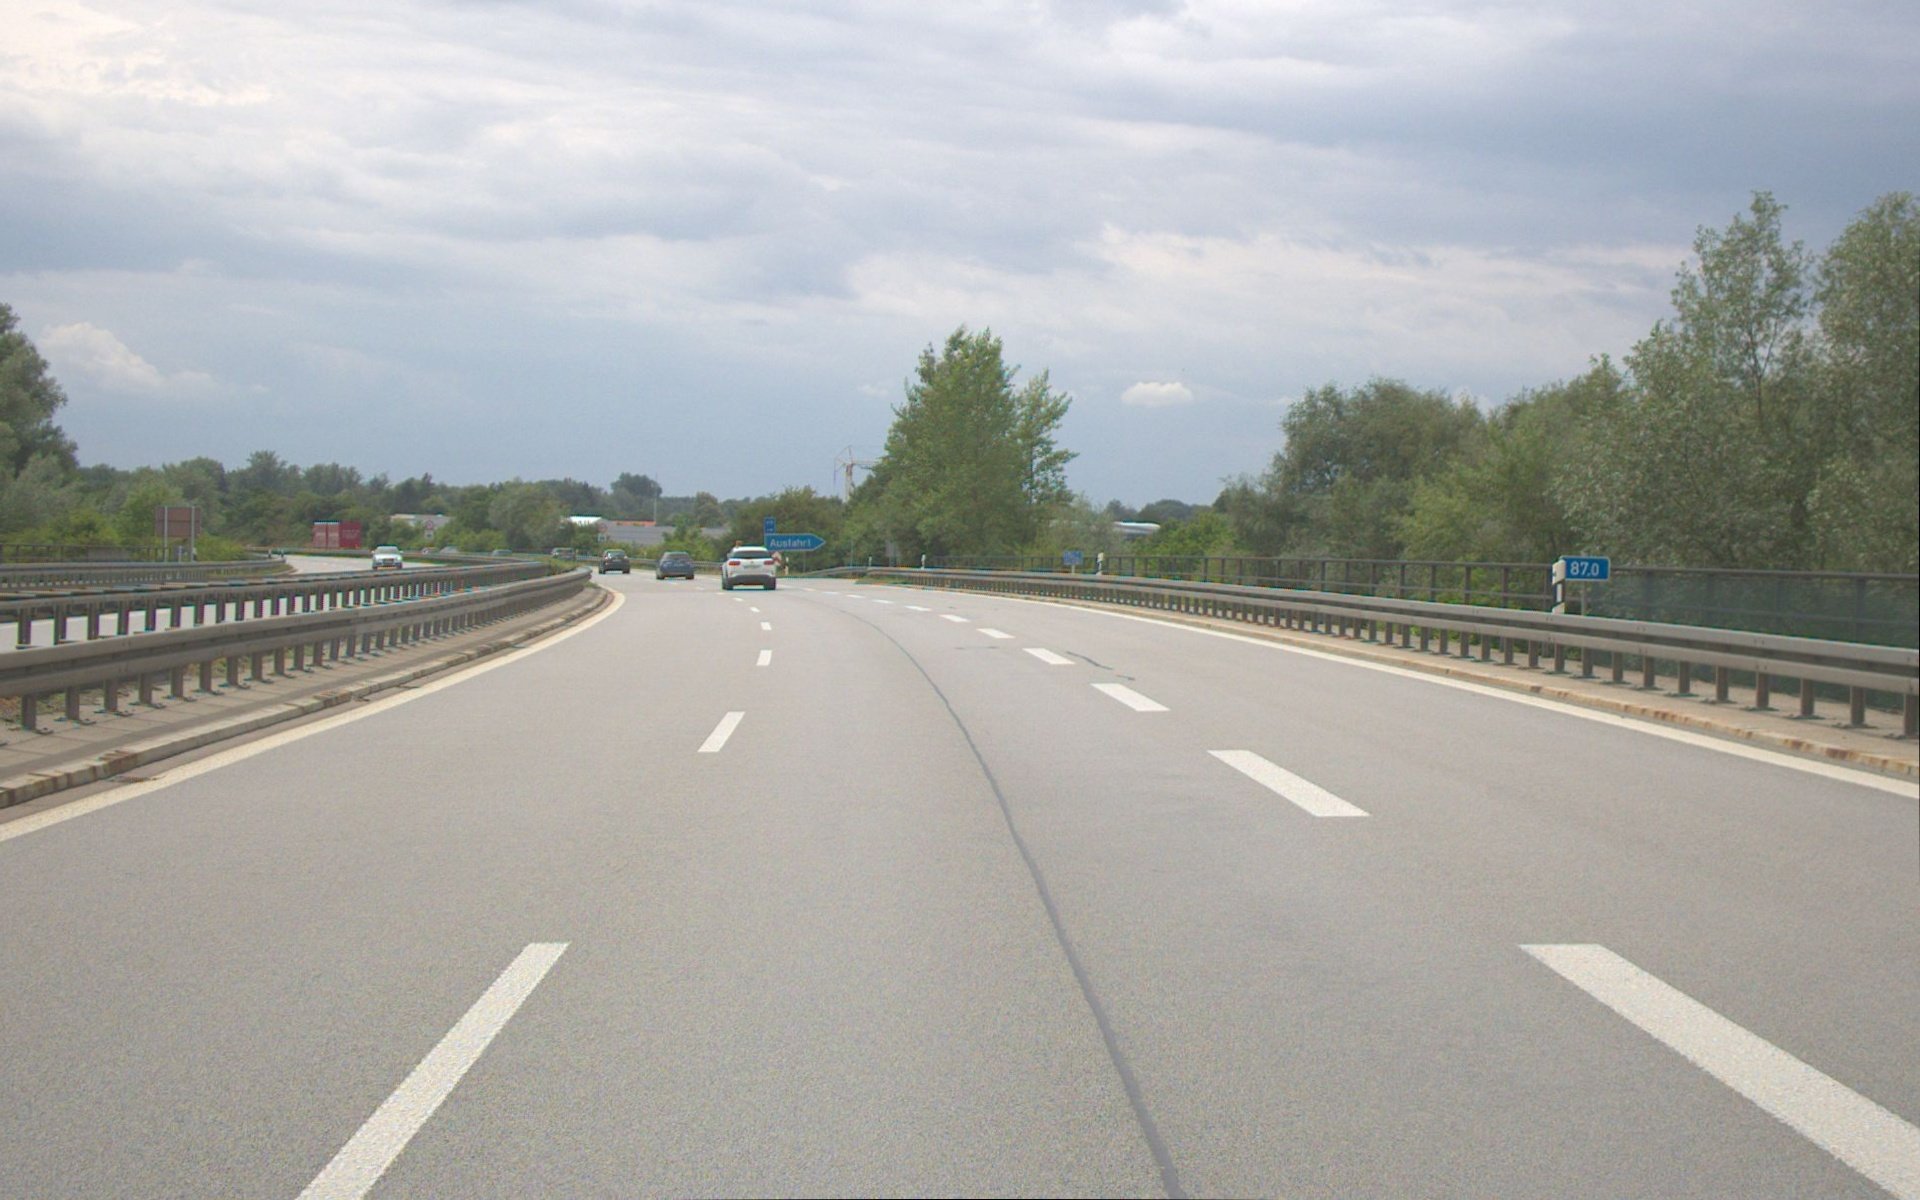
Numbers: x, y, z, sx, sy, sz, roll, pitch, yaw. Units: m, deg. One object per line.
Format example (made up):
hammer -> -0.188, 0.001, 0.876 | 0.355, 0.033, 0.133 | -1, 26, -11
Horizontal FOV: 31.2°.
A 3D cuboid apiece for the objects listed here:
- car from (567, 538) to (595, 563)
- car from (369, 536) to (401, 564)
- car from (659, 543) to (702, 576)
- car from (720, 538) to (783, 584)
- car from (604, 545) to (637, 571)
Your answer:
car -> -28.293, -3.723, 256.315 | 1.826, 1.787, 4.414 | 1, 1, -9
car -> -36.627, -3.188, 219.073 | 1.642, 1.709, 4.982 | 1, 1, -6
car -> -14.549, -2.103, 178.916 | 1.892, 1.634, 4.623 | 1, 1, -8
car -> -7.890, -1.482, 129.614 | 1.902, 1.634, 4.397 | 1, 1, -9
car -> -21.861, -2.724, 221.278 | 1.902, 1.634, 4.781 | 1, 1, -9
